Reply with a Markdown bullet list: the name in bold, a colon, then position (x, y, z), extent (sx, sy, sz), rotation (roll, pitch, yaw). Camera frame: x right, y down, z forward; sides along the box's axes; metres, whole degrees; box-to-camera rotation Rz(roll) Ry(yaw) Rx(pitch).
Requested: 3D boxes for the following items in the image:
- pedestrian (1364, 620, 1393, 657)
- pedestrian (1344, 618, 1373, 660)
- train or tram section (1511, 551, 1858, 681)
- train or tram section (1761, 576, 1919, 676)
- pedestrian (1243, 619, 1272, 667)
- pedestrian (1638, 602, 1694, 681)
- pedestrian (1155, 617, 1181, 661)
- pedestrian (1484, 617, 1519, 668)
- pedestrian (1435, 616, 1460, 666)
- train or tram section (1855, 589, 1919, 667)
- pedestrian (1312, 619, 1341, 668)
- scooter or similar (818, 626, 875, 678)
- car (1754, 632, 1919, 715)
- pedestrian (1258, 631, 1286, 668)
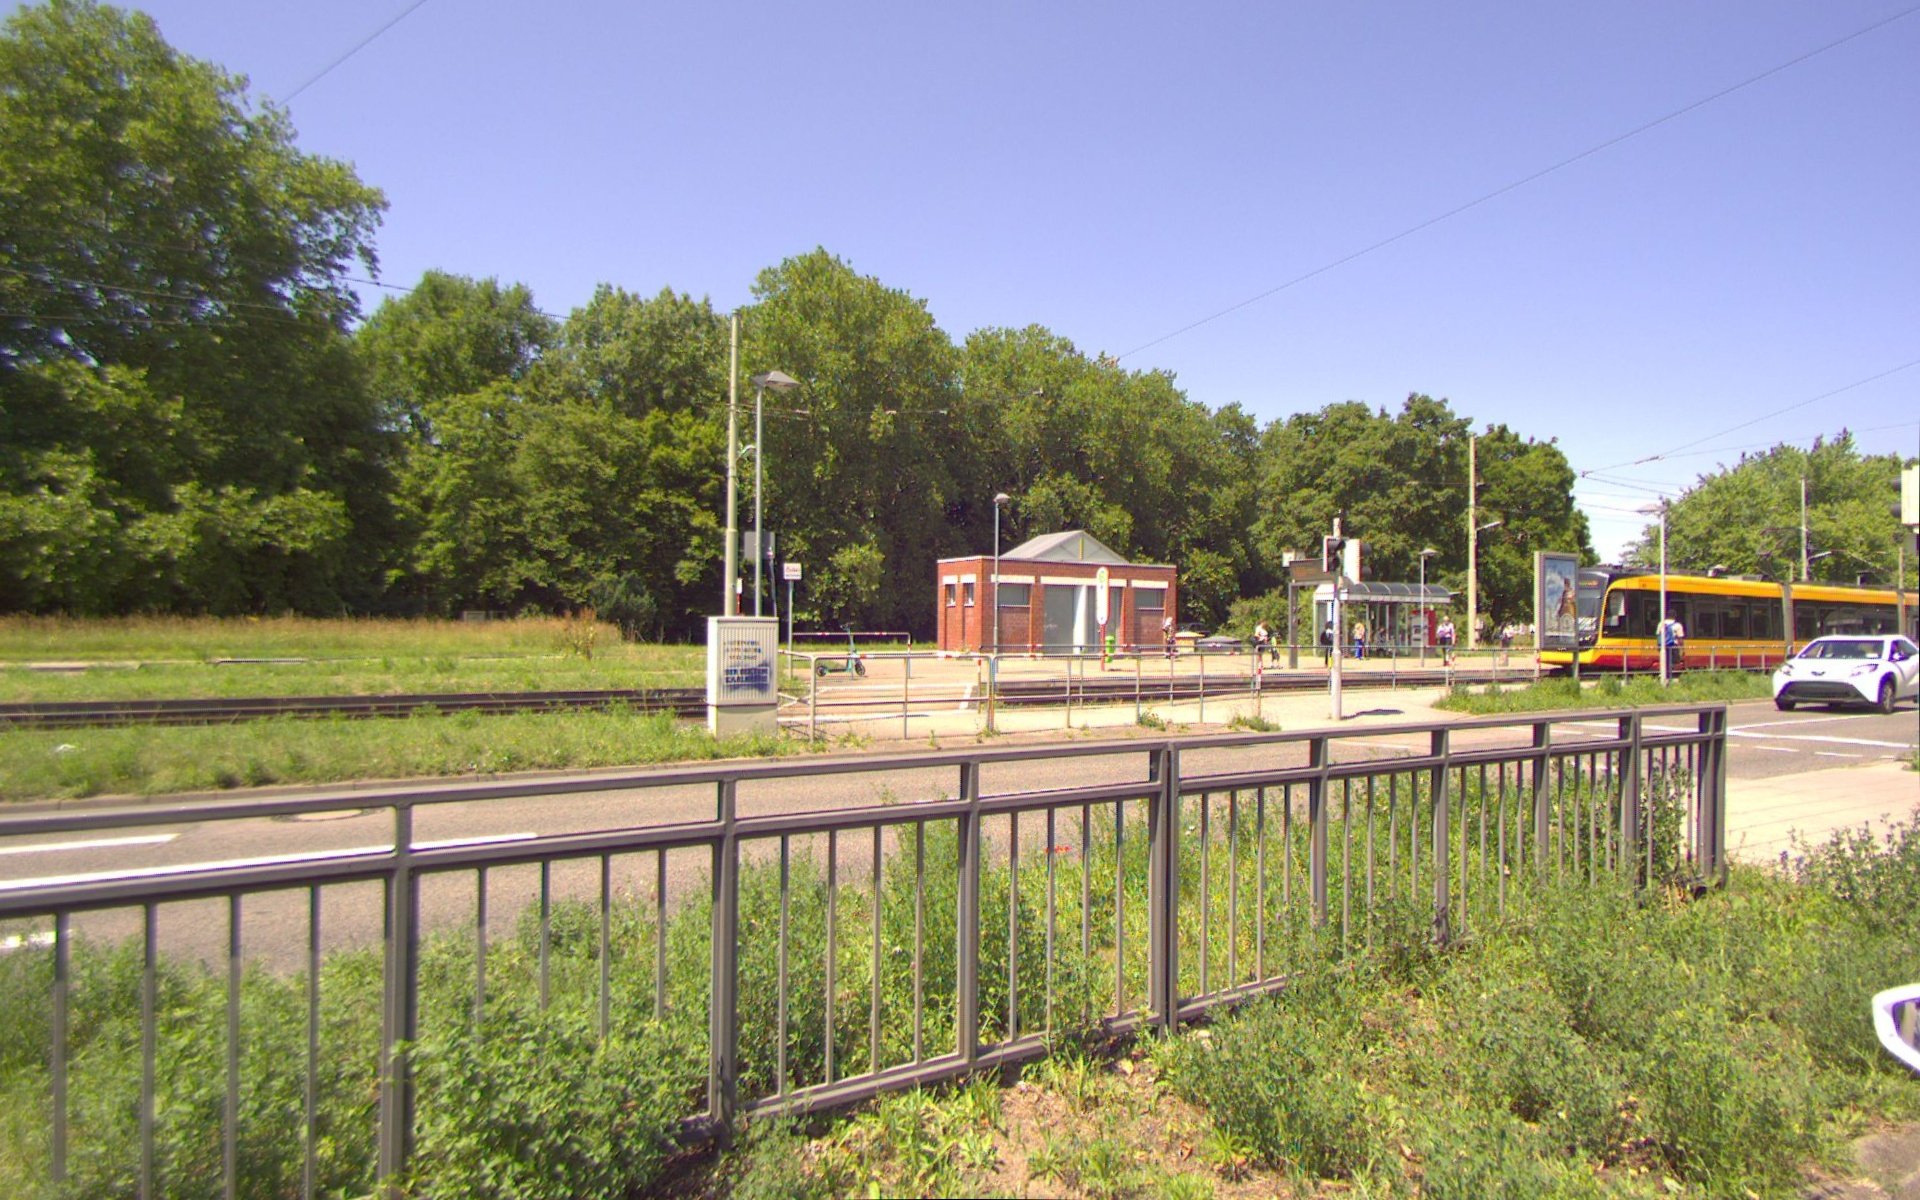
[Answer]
- **pedestrian**: position (17.246, 1.579, 41.370), extent (0.710, 1.531, 0.841), rotation (1, -1, -19)
- **pedestrian**: position (15.493, 1.528, 39.058), extent (0.799, 1.611, 0.668), rotation (1, -1, -30)
- **train or tram section**: position (27.144, 0.706, 36.859), extent (18.281, 3.984, 3.200), rotation (1, -1, -30)
- **train or tram section**: position (42.369, 1.239, 46.555), extent (18.313, 3.984, 3.195), rotation (1, -1, -35)
- **pedestrian**: position (9.252, 1.339, 31.273), extent (0.576, 1.476, 0.636), rotation (1, -1, -30)
- **pedestrian**: position (16.911, 0.969, 24.061), extent (0.832, 1.802, 0.714), rotation (-1, 5, -30)
- **pedestrian**: position (7.133, 1.335, 34.459), extent (0.563, 1.499, 0.636), rotation (1, -1, -30)
- **pedestrian**: position (20.034, 1.555, 37.150), extent (0.832, 1.802, 0.714), rotation (-1, 5, -30)
- **pedestrian**: position (17.897, 1.489, 36.895), extent (0.707, 1.824, 0.845), rotation (0, -1, 17)
- **train or tram section**: position (55.094, 1.640, 58.604), extent (3.176, 3.984, 18.423), rotation (0, -1, 38)
- **pedestrian**: position (11.827, 1.394, 32.432), extent (0.688, 1.575, 0.629), rotation (1, -1, -42)
- **scooter or similar**: position (-2.636, 1.208, 23.447), extent (1.217, 1.183, 0.508), rotation (1, -1, -30)
- **car**: position (18.082, 1.431, 20.411), extent (3.747, 1.514, 1.836), rotation (1, -1, -30)
- **pedestrian**: position (9.927, 1.576, 31.990), extent (0.563, 1.139, 0.636), rotation (1, -1, -30)
